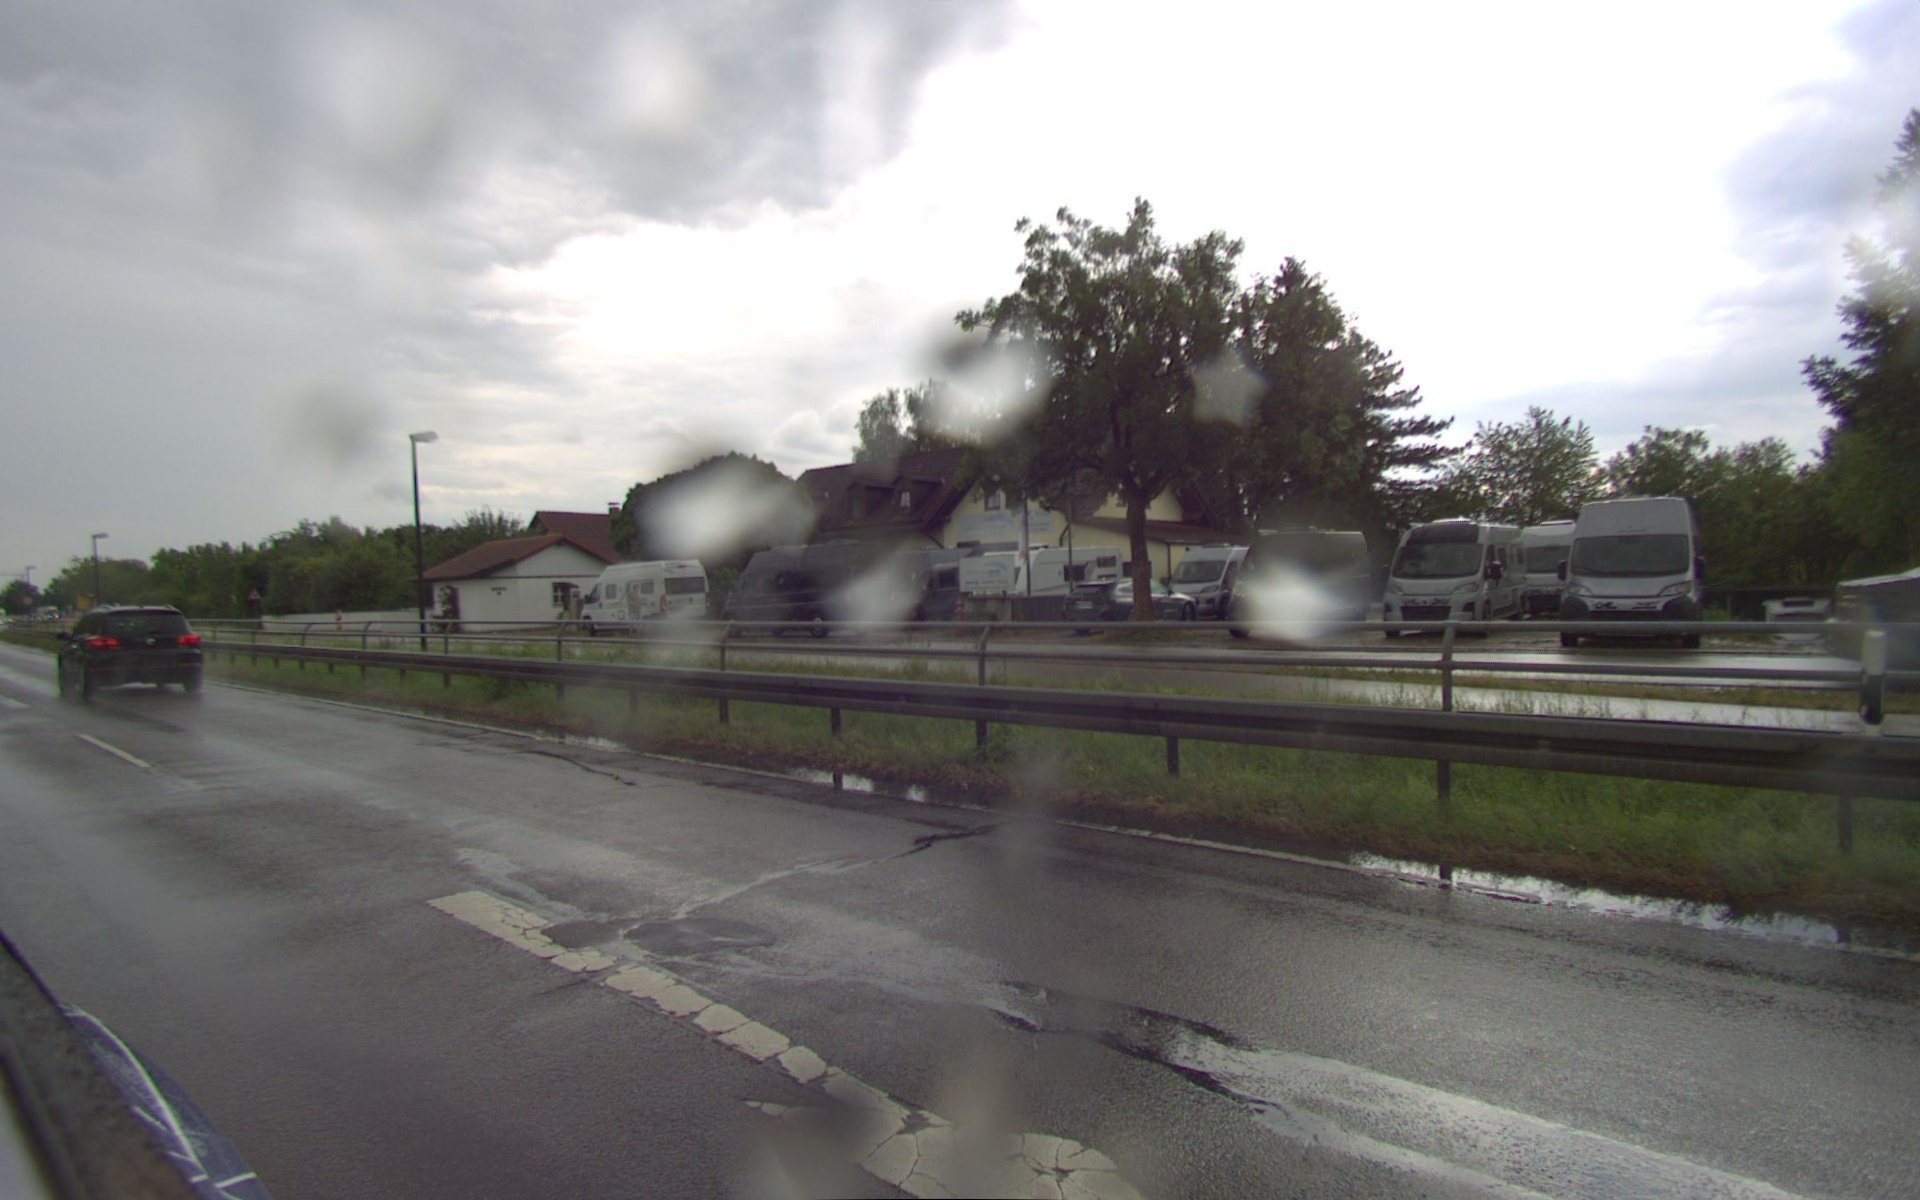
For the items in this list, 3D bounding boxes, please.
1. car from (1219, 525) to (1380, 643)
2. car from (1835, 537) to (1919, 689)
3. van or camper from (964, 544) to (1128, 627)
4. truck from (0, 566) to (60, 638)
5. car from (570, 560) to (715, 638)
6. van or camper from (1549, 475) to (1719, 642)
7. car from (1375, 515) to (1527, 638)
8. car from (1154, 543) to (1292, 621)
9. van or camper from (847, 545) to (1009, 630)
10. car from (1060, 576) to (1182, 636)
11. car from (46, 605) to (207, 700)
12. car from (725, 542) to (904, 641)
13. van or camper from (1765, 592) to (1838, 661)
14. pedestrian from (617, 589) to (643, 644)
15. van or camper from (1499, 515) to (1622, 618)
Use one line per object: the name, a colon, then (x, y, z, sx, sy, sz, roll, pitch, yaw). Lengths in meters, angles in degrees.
car: (8.247, -0.417, 24.237, 1.998, 2.520, 5.133, -2, 1, 38)
car: (11.582, 0.063, 9.369, 5.113, 1.502, 1.502, -2, 1, 37)
van or camper: (3.106, -0.541, 35.042, 2.560, 2.611, 6.161, -2, 1, 40)
truck: (-70.378, 0.166, 75.864, 7.778, 5.071, 3.215, -2, 1, 41)
car: (-11.689, -0.004, 36.969, 6.017, 2.600, 2.214, -2, 1, 42)
van or camper: (13.007, -0.760, 19.320, 2.079, 2.697, 5.817, -2, 1, 39)
car: (11.224, -0.544, 22.917, 1.998, 2.477, 5.043, -2, 1, 38)
car: (9.206, -0.652, 35.006, 2.090, 2.435, 6.030, -2, 1, 41)
van or camper: (-1.034, -0.507, 36.542, 2.432, 2.822, 5.993, -2, 1, 40)
car: (4.548, 0.133, 28.267, 1.539, 1.507, 3.844, -2, 1, 41)
car: (-16.114, 0.958, 19.500, 3.997, 1.631, 1.746, -2, -1, 41)
car: (-4.570, -0.235, 31.179, 5.571, 2.783, 2.358, -2, 1, 42)
van or camper: (37.567, 1.124, 45.252, 2.321, 2.697, 5.817, -2, 1, 40)
pedestrian: (-10.555, 0.517, 32.390, 0.509, 1.723, 0.651, -2, 1, -41)
van or camper: (17.109, -0.957, 28.673, 1.999, 2.609, 5.745, -2, 1, 41)
